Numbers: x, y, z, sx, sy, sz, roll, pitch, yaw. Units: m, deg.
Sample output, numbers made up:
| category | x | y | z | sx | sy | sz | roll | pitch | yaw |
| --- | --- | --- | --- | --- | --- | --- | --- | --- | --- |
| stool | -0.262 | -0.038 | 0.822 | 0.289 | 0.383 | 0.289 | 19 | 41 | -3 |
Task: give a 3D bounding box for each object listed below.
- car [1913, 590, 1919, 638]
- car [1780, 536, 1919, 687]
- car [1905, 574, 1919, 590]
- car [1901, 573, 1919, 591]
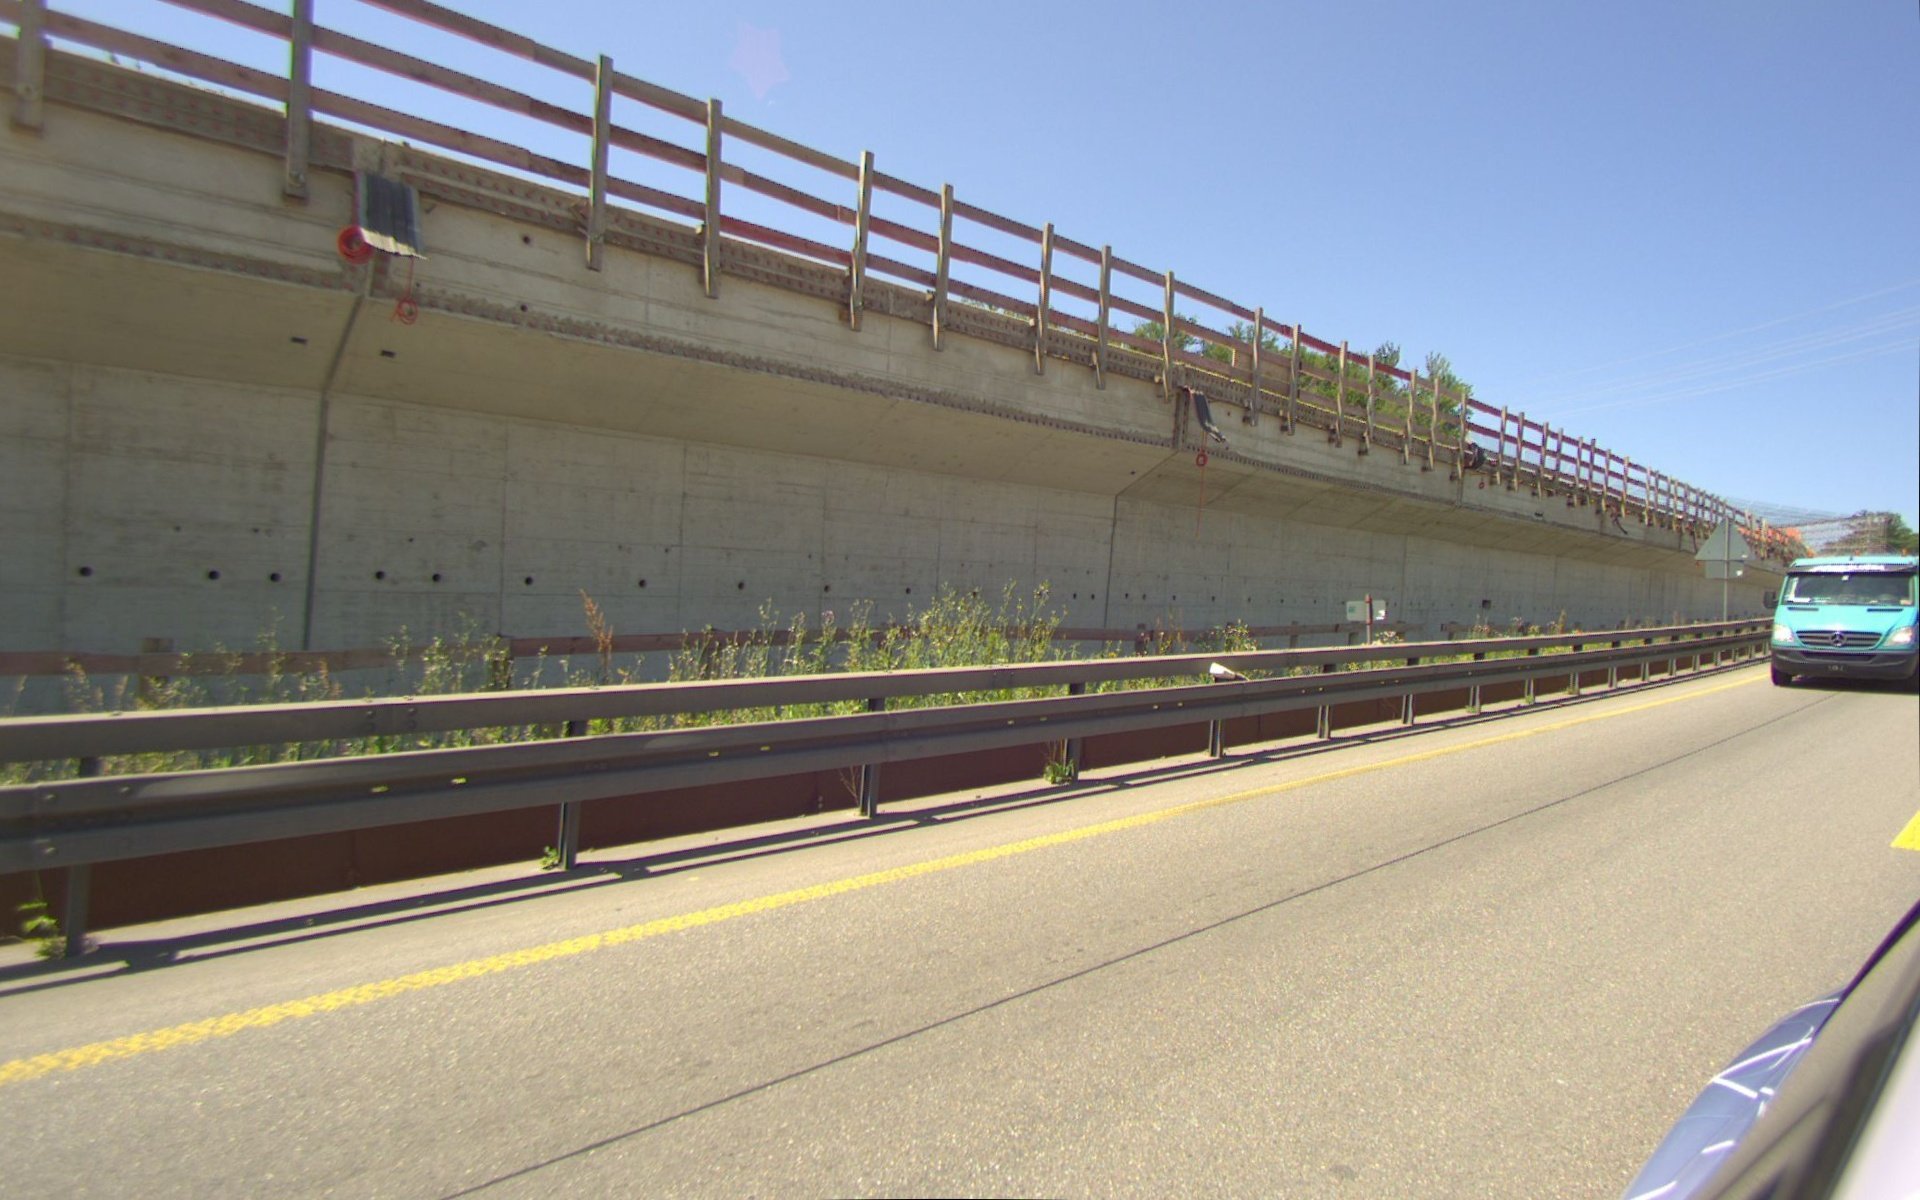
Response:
| category | x | y | z | sx | sy | sz | roll | pitch | yaw |
| --- | --- | --- | --- | --- | --- | --- | --- | --- | --- |
| car | 31.654 | 0.425 | 32.214 | 3.526 | 1.426 | 1.736 | -2 | 1 | -44 |
| car | 17.041 | 0.095 | 18.606 | 6.788 | 2.354 | 2.214 | -1 | 2 | -44 |
| car | 104.911 | -1.949 | 111.011 | 3.288 | 1.697 | 1.584 | -1 | 1 | -43 |
| car | 90.276 | -1.733 | 95.713 | 3.288 | 1.691 | 1.584 | -1 | 1 | -43 |
